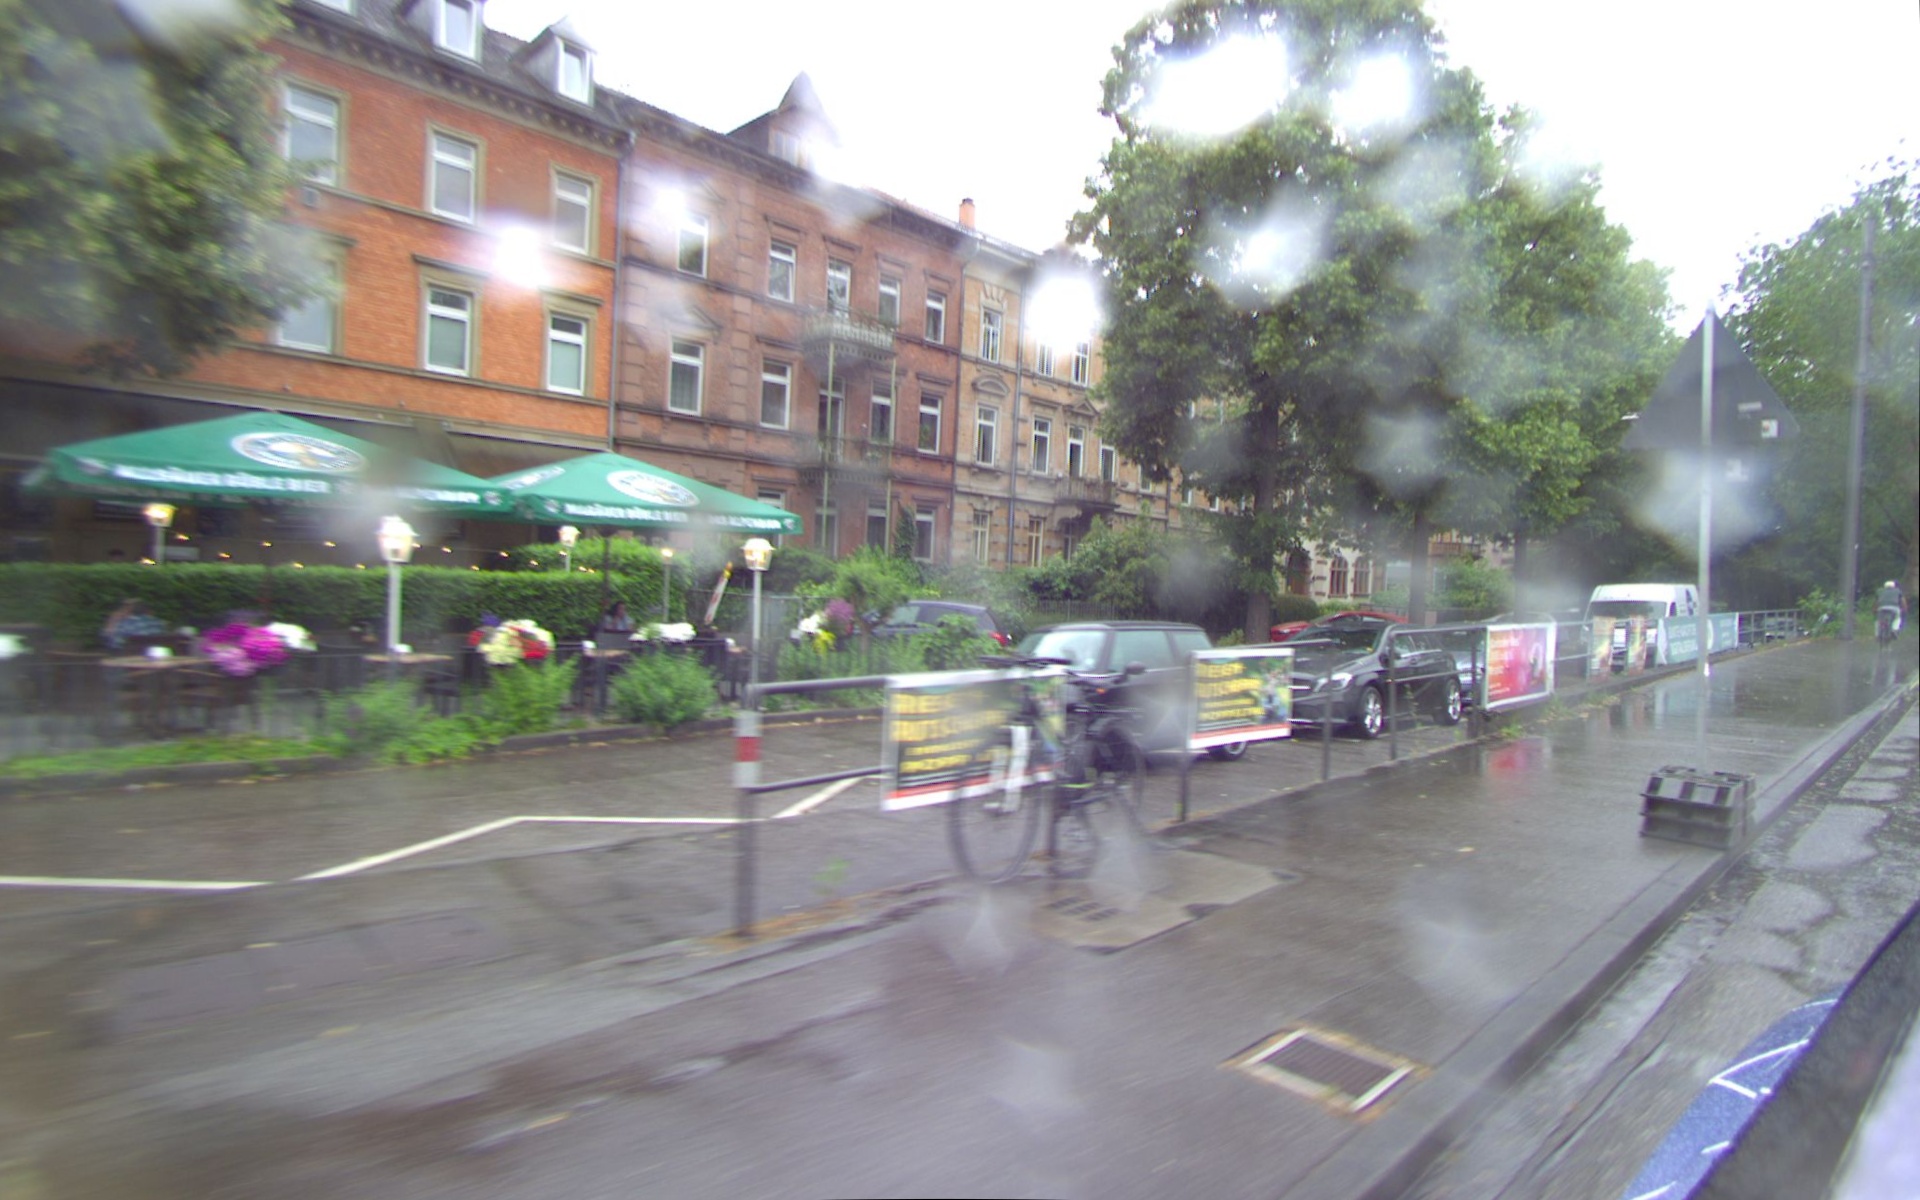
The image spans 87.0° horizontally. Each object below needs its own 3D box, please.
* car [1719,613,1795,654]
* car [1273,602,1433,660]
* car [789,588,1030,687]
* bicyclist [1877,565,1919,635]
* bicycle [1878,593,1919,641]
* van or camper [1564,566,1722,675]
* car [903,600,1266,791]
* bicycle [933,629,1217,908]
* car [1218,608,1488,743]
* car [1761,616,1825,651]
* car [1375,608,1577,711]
[{"bbox_3d":[30.364,1.239,38.530,3.933,1.389,1.701,0,0,-43],"label":"car"},{"bbox_3d":[11.580,0.874,30.118,4.226,1.488,1.701,2,0,16],"label":"car"},{"bbox_3d":[-0.836,0.602,17.930,3.937,1.527,1.855,2,0,11],"label":"car"},{"bbox_3d":[23.039,0.001,24.822,0.735,1.676,0.864,3,1,42],"label":"bicyclist"},{"bbox_3d":[22.991,0.410,24.762,0.738,1.086,1.837,3,2,42],"label":"bicycle"},{"bbox_3d":[18.669,0.515,27.518,5.995,2.623,2.329,1,1,-44],"label":"van or camper"},{"bbox_3d":[1.317,0.795,9.921,3.455,1.519,1.649,1,0,-41],"label":"car"},{"bbox_3d":[0.650,0.747,5.135,1.763,1.183,0.422,1,-1,-45],"label":"bicycle"},{"bbox_3d":[5.369,0.893,13.568,4.145,1.482,1.748,1,0,-43],"label":"car"},{"bbox_3d":[38.728,1.520,47.032,3.932,1.473,1.806,1,1,-43],"label":"car"},{"bbox_3d":[8.846,0.929,17.191,4.144,1.488,1.729,1,0,-43],"label":"car"}]
